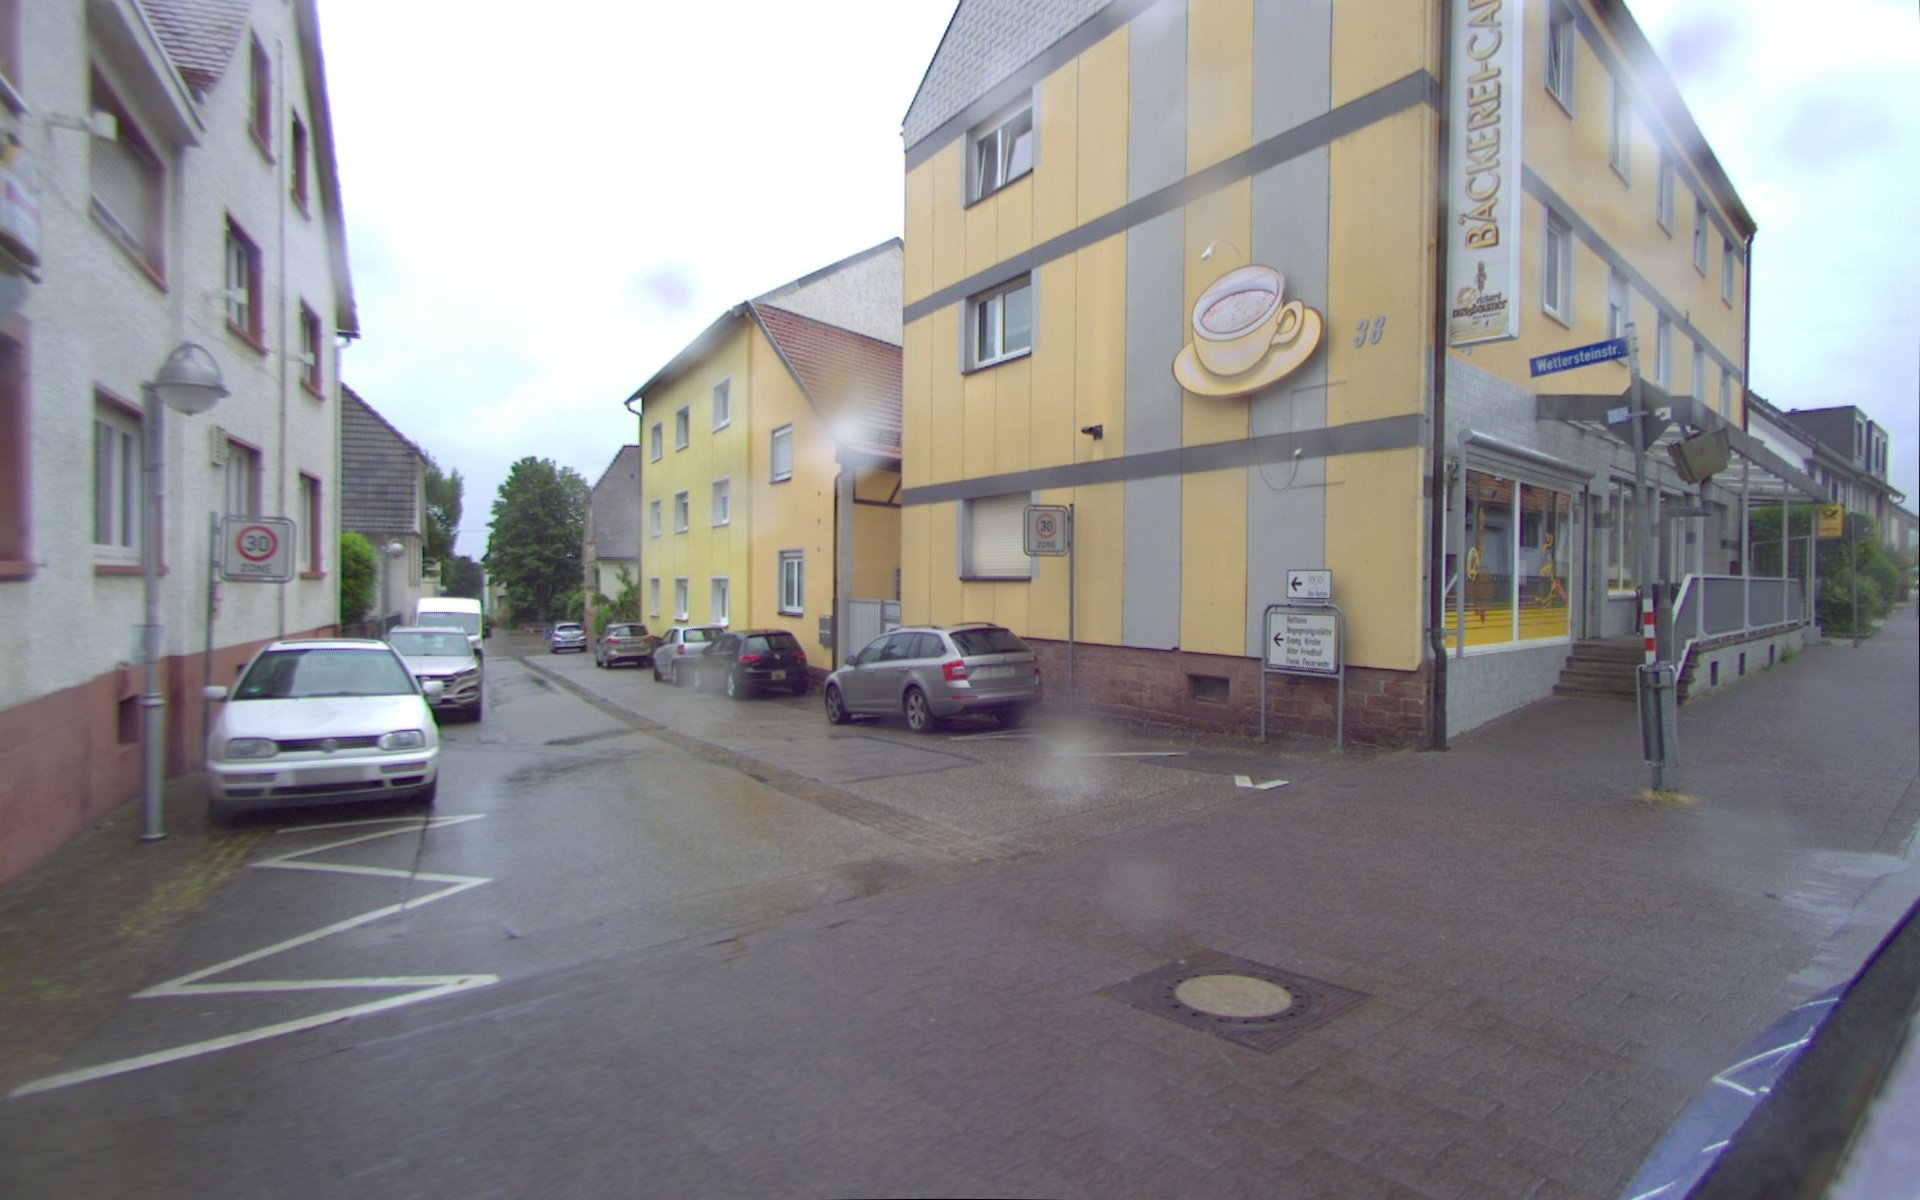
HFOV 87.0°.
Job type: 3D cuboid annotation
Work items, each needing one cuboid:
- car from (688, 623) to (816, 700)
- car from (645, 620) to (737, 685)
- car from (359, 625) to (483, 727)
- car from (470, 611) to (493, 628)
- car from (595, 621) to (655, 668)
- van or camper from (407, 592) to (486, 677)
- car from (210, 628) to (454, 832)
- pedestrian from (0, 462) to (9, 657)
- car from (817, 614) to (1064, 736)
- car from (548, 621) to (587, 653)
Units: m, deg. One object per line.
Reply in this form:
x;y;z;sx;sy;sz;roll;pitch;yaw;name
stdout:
-4.855;1.330;23.187;1.816;1.478;4.024;-3;0;-27;car
-7.380;1.365;27.544;1.632;1.535;3.876;-3;0;-26;car
-9.802;1.283;18.525;1.791;1.633;4.025;1;-2;-27;car
-51.044;2.053;107.940;1.885;1.737;4.004;0;0;-30;car
-12.234;1.559;36.806;1.631;1.581;3.877;-1;-1;-25;car
-16.617;1.058;32.863;2.044;2.511;5.904;1;-1;-26;van or camper
-5.981;1.026;9.648;1.630;1.391;3.964;0;0;-33;car
-2.443;0.575;1.635;0.977;1.758;0.812;2;-1;-9;pedestrian
-0.453;1.055;15.162;1.741;1.479;4.198;-2;-2;-32;car
-19.829;1.826;51.071;1.631;1.410;3.878;-1;1;-24;car
